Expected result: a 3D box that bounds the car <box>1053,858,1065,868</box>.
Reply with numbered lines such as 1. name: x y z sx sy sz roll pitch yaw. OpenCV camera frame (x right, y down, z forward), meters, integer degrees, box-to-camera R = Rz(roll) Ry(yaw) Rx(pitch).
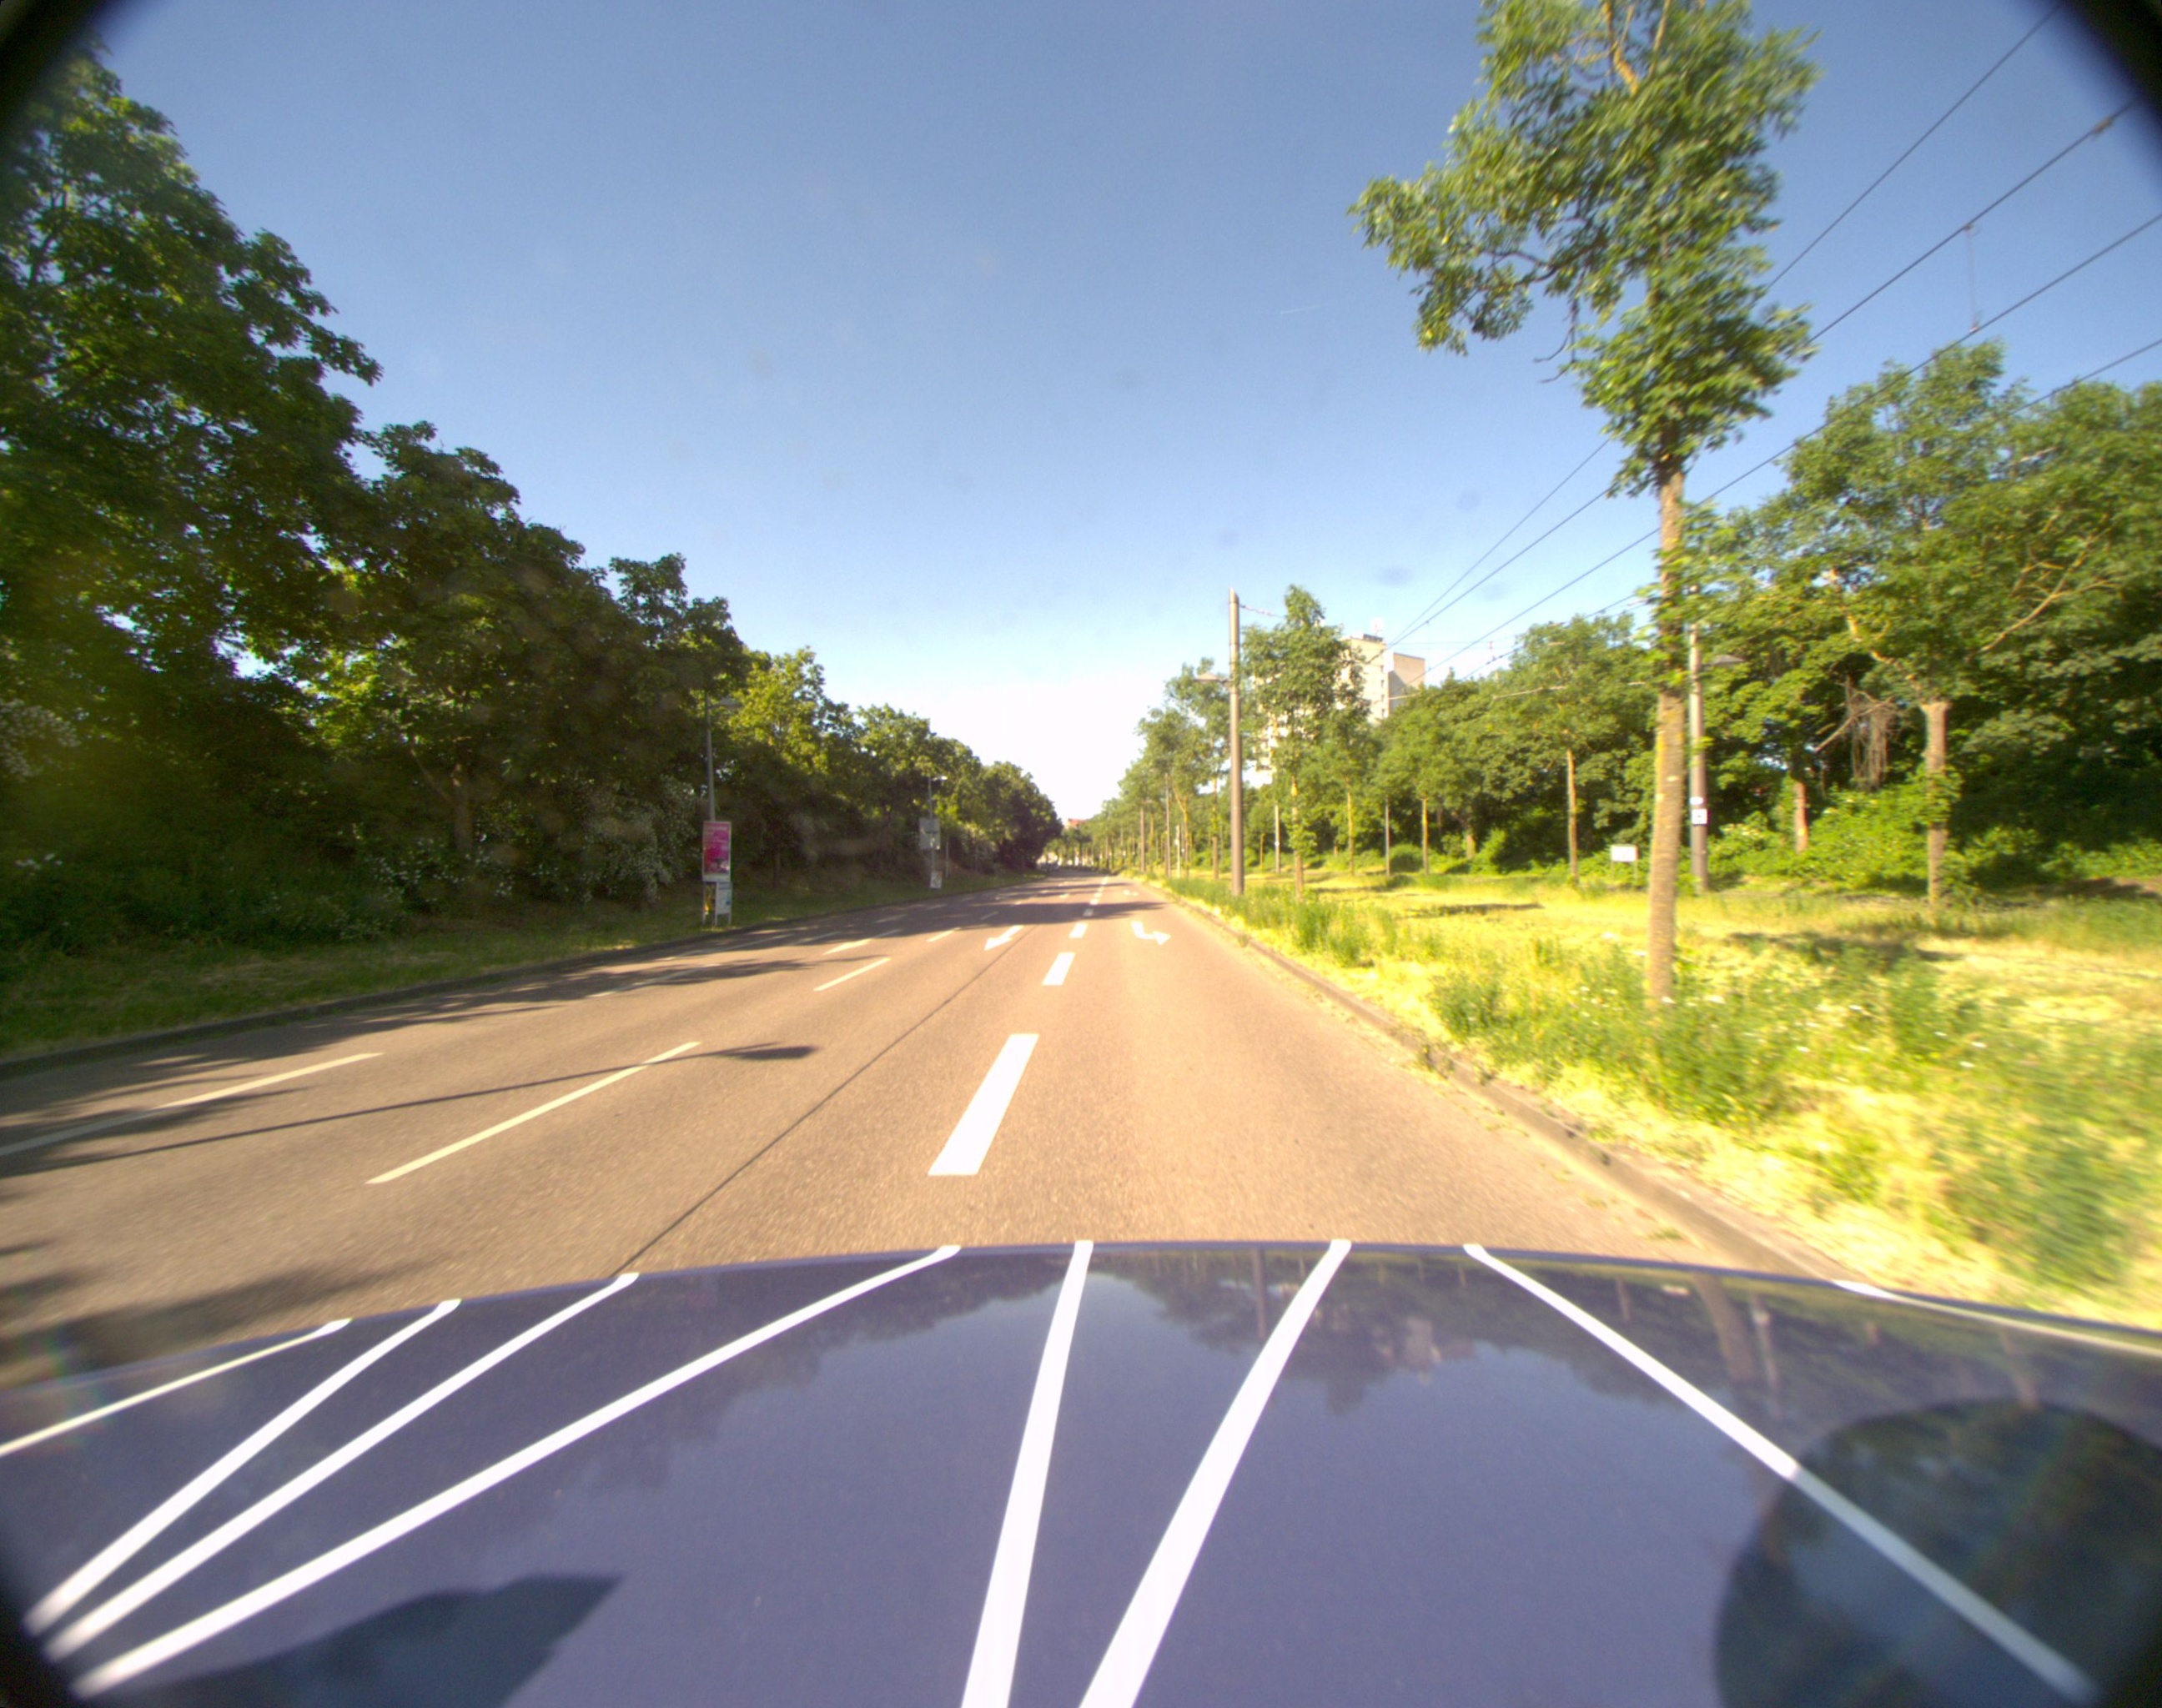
1. car: -3.826 1.534 132.763 1.672 1.531 4.061 -4 0 3
